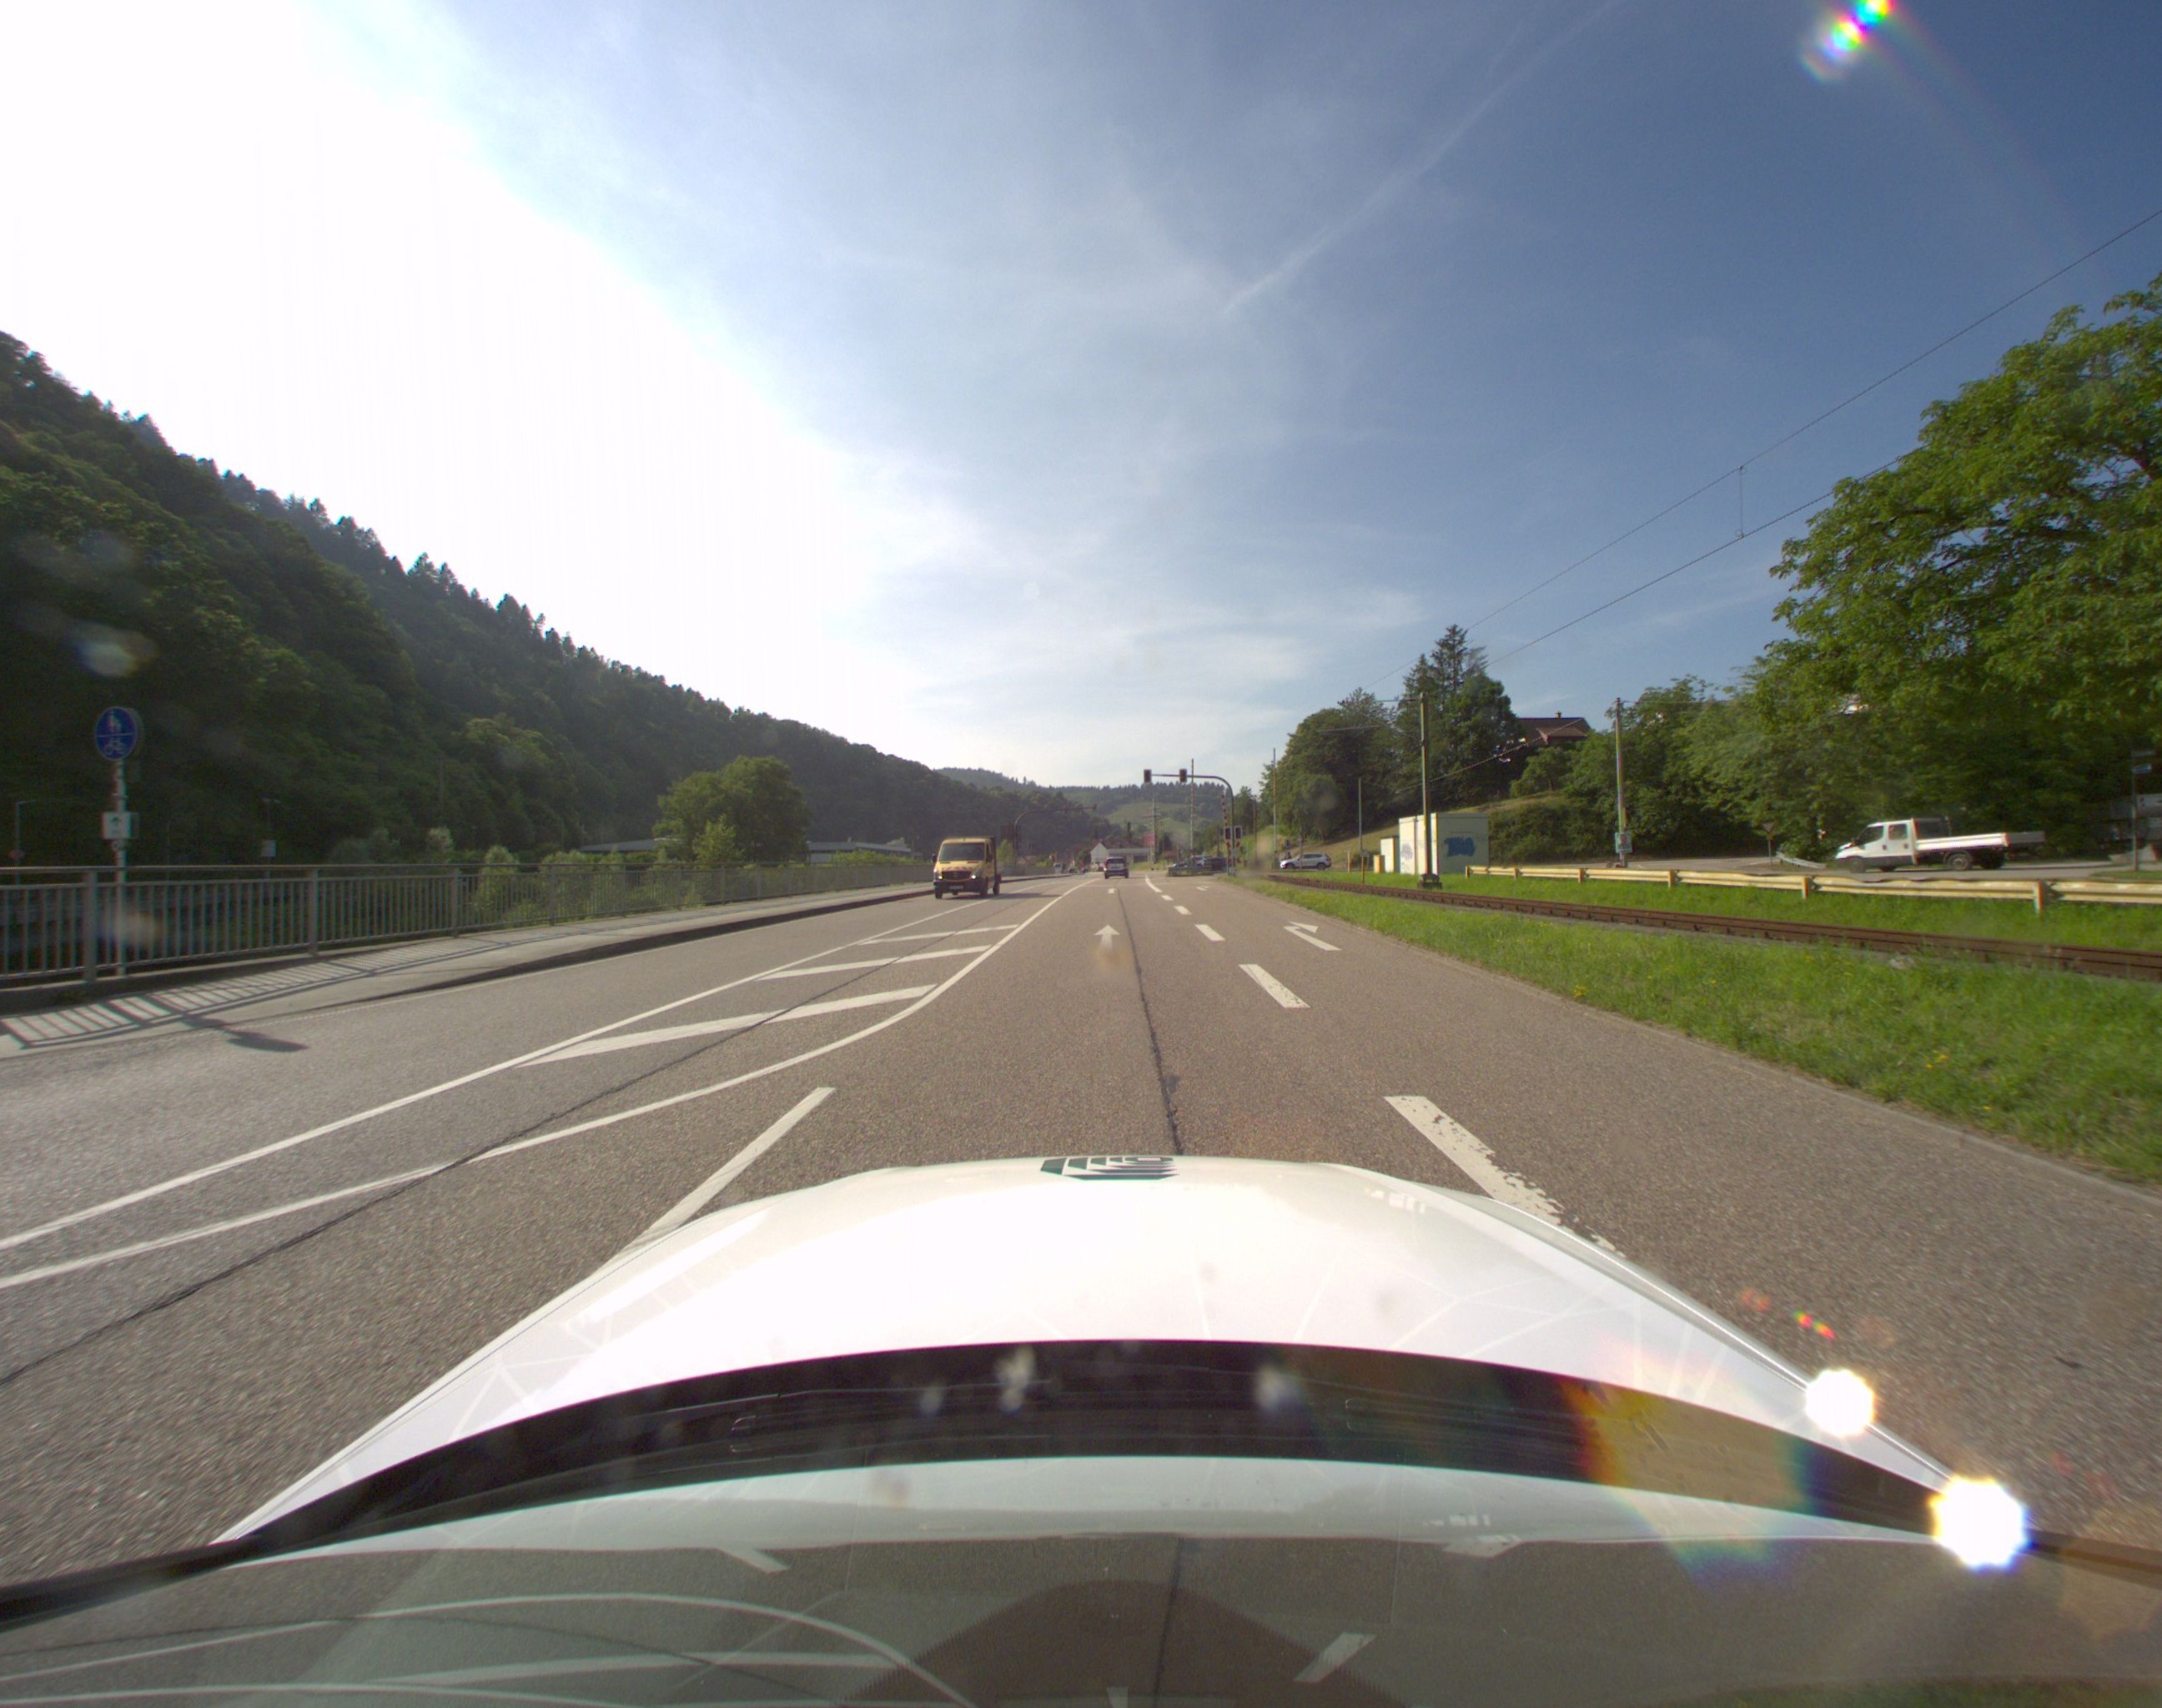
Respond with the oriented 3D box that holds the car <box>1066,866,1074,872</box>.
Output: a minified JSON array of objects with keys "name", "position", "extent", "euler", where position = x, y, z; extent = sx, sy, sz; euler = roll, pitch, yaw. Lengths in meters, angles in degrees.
[{"name":"car","position":[-3.066,4.027,219.973],"extent":[1.456,1.435,2.920],"euler":[0,-1,-15]}]

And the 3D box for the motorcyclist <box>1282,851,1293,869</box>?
[{"name":"motorcyclist","position":[18.889,0.574,74.389],"extent":[0.899,1.597,0.769],"euler":[-1,-1,20]}]

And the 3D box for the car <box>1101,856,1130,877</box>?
[{"name":"car","position":[2.690,0.977,62.637],"extent":[1.851,1.544,4.381],"euler":[-1,-2,7]}]

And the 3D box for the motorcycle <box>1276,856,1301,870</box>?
[{"name":"motorcycle","position":[18.935,0.845,74.382],"extent":[2.075,1.254,0.803],"euler":[-1,-1,21]}]

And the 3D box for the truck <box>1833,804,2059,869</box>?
[{"name":"truck","position":[35.284,-0.605,33.558],"extent":[2.402,2.233,5.910],"euler":[-2,-2,-13]}]

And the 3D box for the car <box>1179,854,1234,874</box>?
[{"name":"car","position":[11.057,0.885,72.002],"extent":[4.702,1.470,1.845],"euler":[-3,-1,5]}]

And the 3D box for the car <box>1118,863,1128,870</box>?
[{"name":"car","position":[8.701,2.515,170.329],"extent":[1.453,1.435,2.925],"euler":[0,-1,-10]}]

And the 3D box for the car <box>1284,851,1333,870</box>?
[{"name":"car","position":[19.824,0.572,70.933],"extent":[4.081,1.687,1.843],"euler":[-1,-1,16]}]

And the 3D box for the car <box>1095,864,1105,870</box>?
[{"name":"car","position":[4.266,2.912,184.865],"extent":[1.456,1.435,2.920],"euler":[0,-1,-15]}]

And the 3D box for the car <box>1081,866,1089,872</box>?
[{"name":"car","position":[0.880,3.628,200.709],"extent":[1.235,1.435,2.626],"euler":[-3,0,-15]}]

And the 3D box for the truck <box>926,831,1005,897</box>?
[{"name":"truck","position":[-4.500,0.398,32.762],"extent":[2.156,2.387,5.856],"euler":[0,-1,2]}]
